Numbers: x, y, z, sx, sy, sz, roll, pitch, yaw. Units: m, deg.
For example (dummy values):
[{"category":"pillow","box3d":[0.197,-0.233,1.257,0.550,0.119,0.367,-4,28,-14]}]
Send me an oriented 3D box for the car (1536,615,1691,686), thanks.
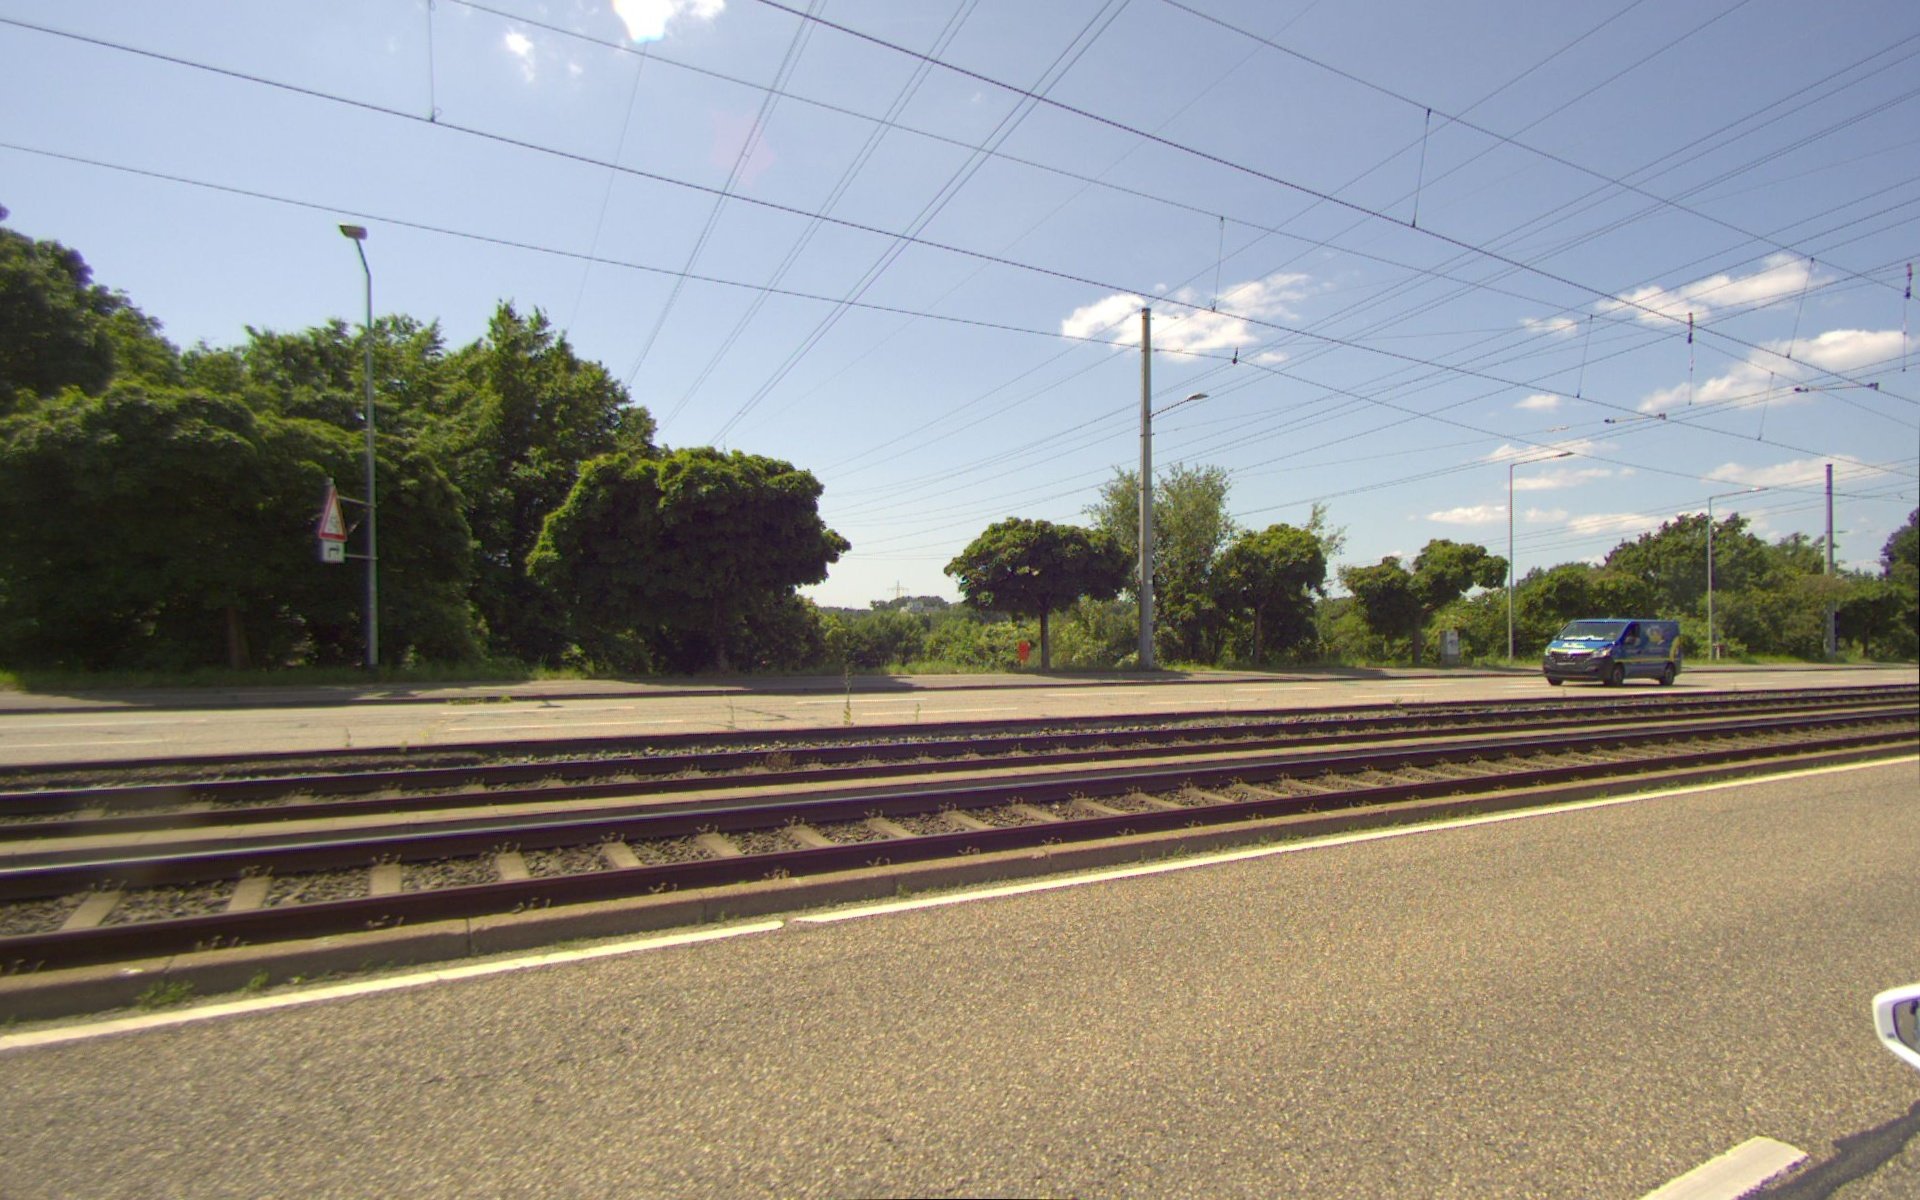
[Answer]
[{"category":"car","box3d":[19.320,1.475,29.643,4.950,1.953,1.848,2,-3,-31]}]
